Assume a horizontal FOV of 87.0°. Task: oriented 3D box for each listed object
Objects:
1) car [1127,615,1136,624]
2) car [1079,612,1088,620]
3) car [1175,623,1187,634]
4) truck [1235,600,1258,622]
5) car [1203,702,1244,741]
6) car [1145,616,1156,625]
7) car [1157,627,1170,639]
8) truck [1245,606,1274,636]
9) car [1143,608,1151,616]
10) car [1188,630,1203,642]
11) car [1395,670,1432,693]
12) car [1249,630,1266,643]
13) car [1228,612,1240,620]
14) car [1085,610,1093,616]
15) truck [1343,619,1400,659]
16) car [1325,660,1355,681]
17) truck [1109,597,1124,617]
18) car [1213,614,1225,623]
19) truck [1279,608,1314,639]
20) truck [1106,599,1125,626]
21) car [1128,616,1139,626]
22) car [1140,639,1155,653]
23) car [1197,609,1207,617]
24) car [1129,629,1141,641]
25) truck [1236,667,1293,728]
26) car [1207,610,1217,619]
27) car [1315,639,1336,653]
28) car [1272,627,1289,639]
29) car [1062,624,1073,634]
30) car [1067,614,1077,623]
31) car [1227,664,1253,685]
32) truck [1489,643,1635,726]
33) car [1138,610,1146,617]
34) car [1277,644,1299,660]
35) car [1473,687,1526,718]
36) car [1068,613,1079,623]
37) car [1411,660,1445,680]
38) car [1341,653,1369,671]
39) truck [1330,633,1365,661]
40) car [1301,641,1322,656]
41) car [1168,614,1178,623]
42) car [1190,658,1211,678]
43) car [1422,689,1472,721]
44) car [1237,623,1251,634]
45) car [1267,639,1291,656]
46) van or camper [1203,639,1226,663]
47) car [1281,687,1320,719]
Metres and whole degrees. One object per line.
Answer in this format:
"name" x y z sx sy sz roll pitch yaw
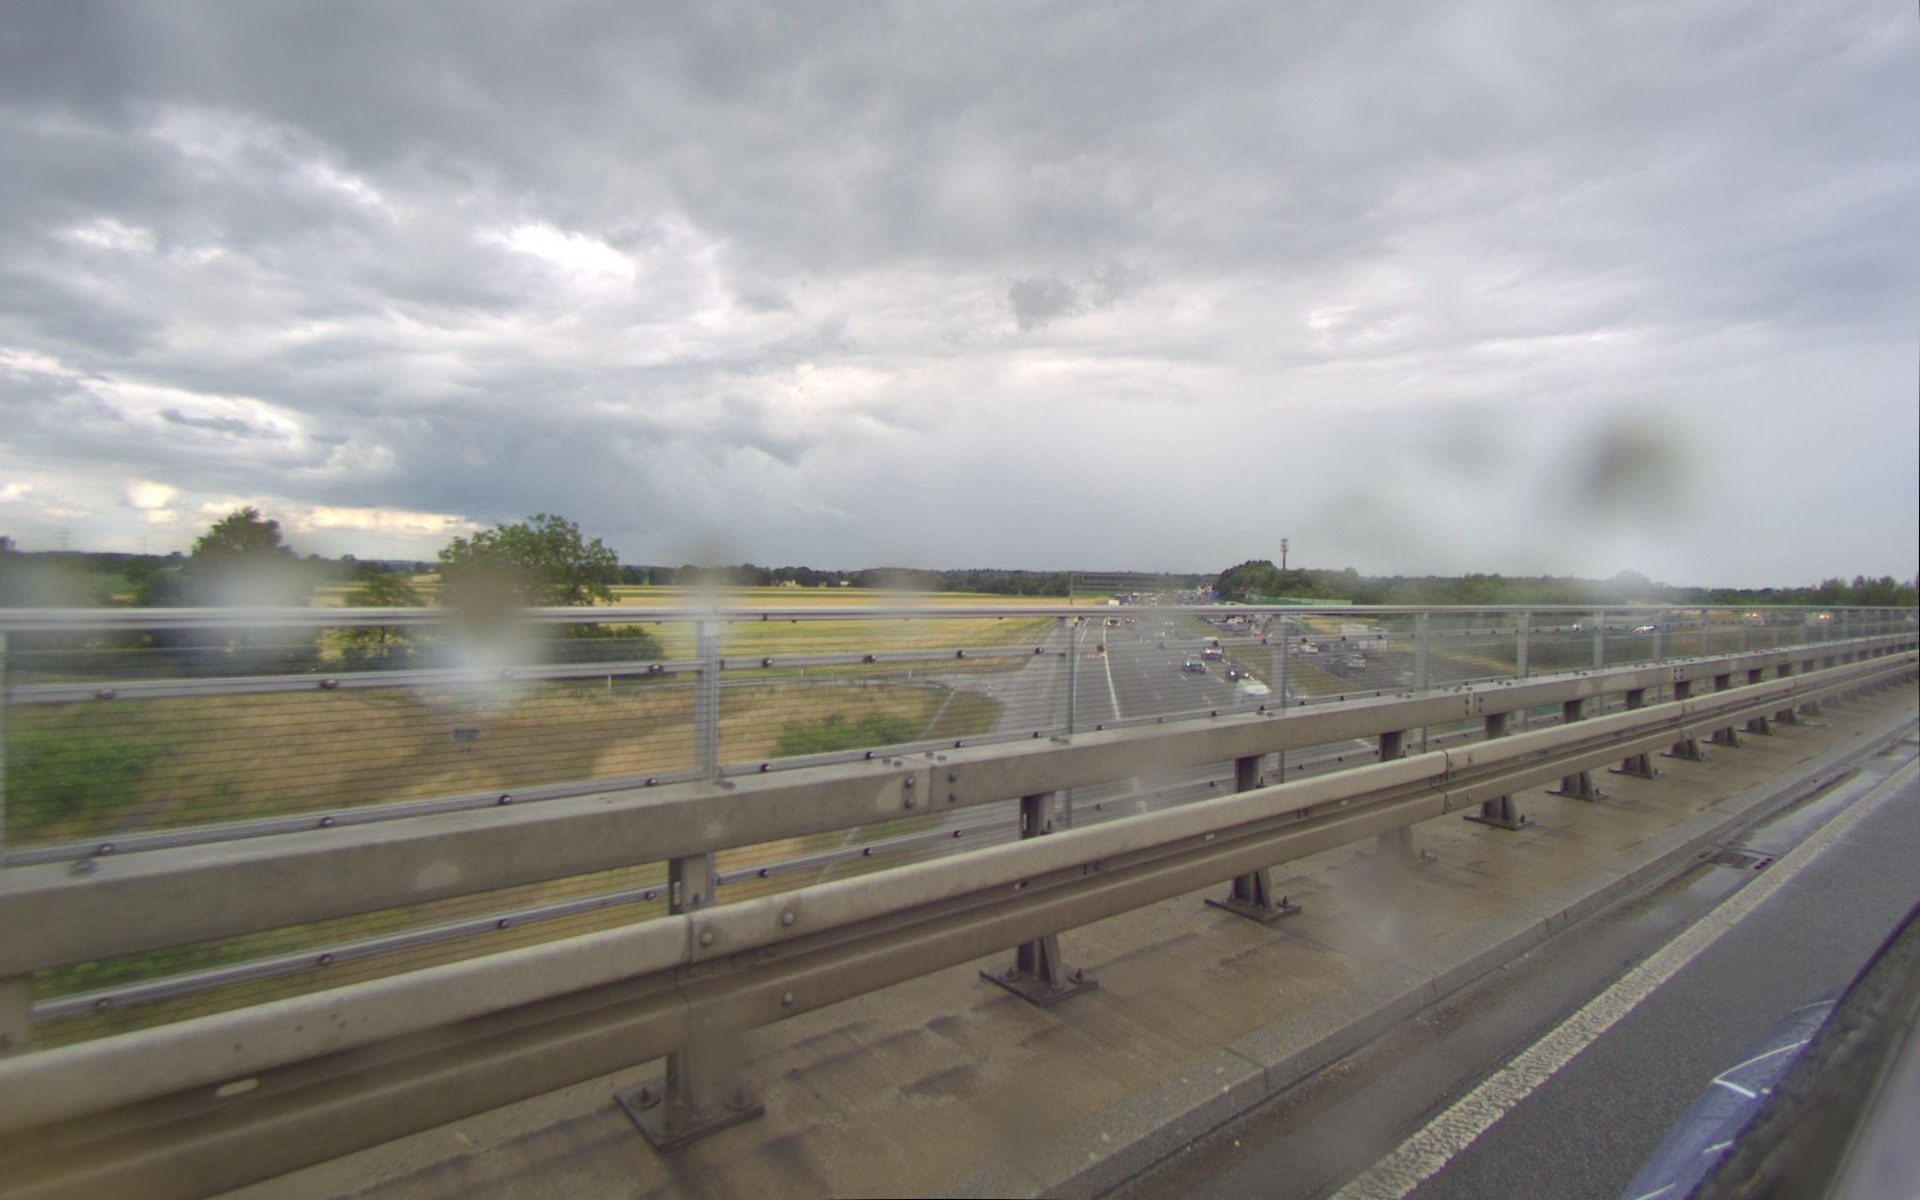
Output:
"car" 36.297 4.093 214.566 1.826 1.690 4.712 0 0 9
"car" 26.932 3.476 220.963 1.826 1.690 4.712 0 0 9
"car" 38.451 4.947 176.085 1.826 1.690 4.712 0 0 9
"truck" 72.582 2.635 256.828 3.435 5.420 15.593 0 0 8
"car" 15.321 7.046 59.027 1.784 1.690 4.713 0 0 8
"car" 35.413 3.805 188.162 1.826 1.690 4.712 0 0 9
"car" 32.685 5.250 162.604 1.826 1.690 4.712 0 0 9
"truck" 59.389 4.054 201.089 3.241 5.511 15.593 0 0 8
"car" 43.326 2.833 234.575 1.826 1.690 4.712 0 0 9
"car" 35.479 5.434 152.476 1.826 1.690 4.712 0 0 9
"car" 40.721 7.310 91.061 1.826 1.690 4.712 0 0 9
"car" 45.071 5.492 153.238 1.826 1.690 4.712 0 0 9
"car" 58.536 3.409 216.415 1.826 1.797 4.712 0 0 9
"car" 30.196 3.065 236.255 1.784 1.454 4.714 0 0 8
"truck" 54.524 5.070 134.666 3.545 4.595 15.587 0 0 9
"car" 38.174 7.074 101.748 1.826 1.690 4.712 0 0 9
"truck" 36.626 1.595 236.370 2.751 4.676 12.709 0 0 12
"car" 51.414 3.705 201.171 1.826 1.797 4.712 0 0 9
"truck" 61.835 4.234 186.402 3.241 5.230 15.593 0 0 8
"truck" 29.822 2.255 193.975 2.751 4.962 12.709 0 0 12
"car" 31.781 3.761 185.444 1.826 1.690 4.712 0 0 9
"car" 25.801 6.247 139.218 1.826 1.690 4.712 0 0 9
"car" 58.229 3.116 243.570 1.826 1.797 4.712 0 0 9
"car" 27.438 5.486 158.619 1.826 1.690 4.712 0 0 9
"truck" 20.493 6.487 68.556 2.553 3.219 8.374 0 0 9
"car" 55.583 3.224 223.264 1.826 1.797 4.712 0 0 9
"car" 51.876 6.482 143.681 1.826 1.690 4.712 0 0 9
"car" 50.597 5.255 159.667 1.826 1.690 4.712 0 0 9
"car" 17.829 4.744 167.510 1.784 1.454 4.714 0 0 8
"car" 22.704 3.689 205.337 1.826 1.690 4.712 0 0 9
"car" 27.240 7.245 98.531 1.784 1.690 4.713 0 0 8
"truck" 42.921 5.785 73.084 3.545 4.595 15.587 0 0 9
"car" 44.364 3.265 246.709 1.826 1.690 4.712 0 0 9
"car" 41.385 6.551 127.759 1.826 1.690 4.712 0 0 9
"car" 38.191 7.239 71.766 1.826 1.690 4.712 0 0 9
"car" 21.105 3.313 187.800 1.826 1.690 4.712 0 0 9
"car" 47.040 7.013 101.884 1.826 1.690 4.712 0 0 9
"car" 43.181 6.754 110.819 1.826 1.690 4.712 0 0 9
"truck" 48.842 5.899 127.679 2.176 3.003 9.285 0 0 9
"car" 47.067 6.499 135.655 1.826 1.690 4.712 0 0 9
"car" 42.238 3.698 200.696 1.826 1.690 4.712 0 0 9
"car" 24.997 7.072 105.323 1.784 1.690 4.713 0 0 8
"car" 33.880 7.260 70.573 1.826 1.690 4.712 0 0 9
"car" 48.791 4.914 173.981 1.826 1.690 4.712 0 0 9
"car" 36.314 5.410 115.220 1.826 1.690 4.712 0 0 9
"van or camper" 31.190 6.216 124.171 2.026 2.481 7.312 0 0 9
"car" 24.120 7.261 71.735 1.784 1.690 4.713 0 0 8
